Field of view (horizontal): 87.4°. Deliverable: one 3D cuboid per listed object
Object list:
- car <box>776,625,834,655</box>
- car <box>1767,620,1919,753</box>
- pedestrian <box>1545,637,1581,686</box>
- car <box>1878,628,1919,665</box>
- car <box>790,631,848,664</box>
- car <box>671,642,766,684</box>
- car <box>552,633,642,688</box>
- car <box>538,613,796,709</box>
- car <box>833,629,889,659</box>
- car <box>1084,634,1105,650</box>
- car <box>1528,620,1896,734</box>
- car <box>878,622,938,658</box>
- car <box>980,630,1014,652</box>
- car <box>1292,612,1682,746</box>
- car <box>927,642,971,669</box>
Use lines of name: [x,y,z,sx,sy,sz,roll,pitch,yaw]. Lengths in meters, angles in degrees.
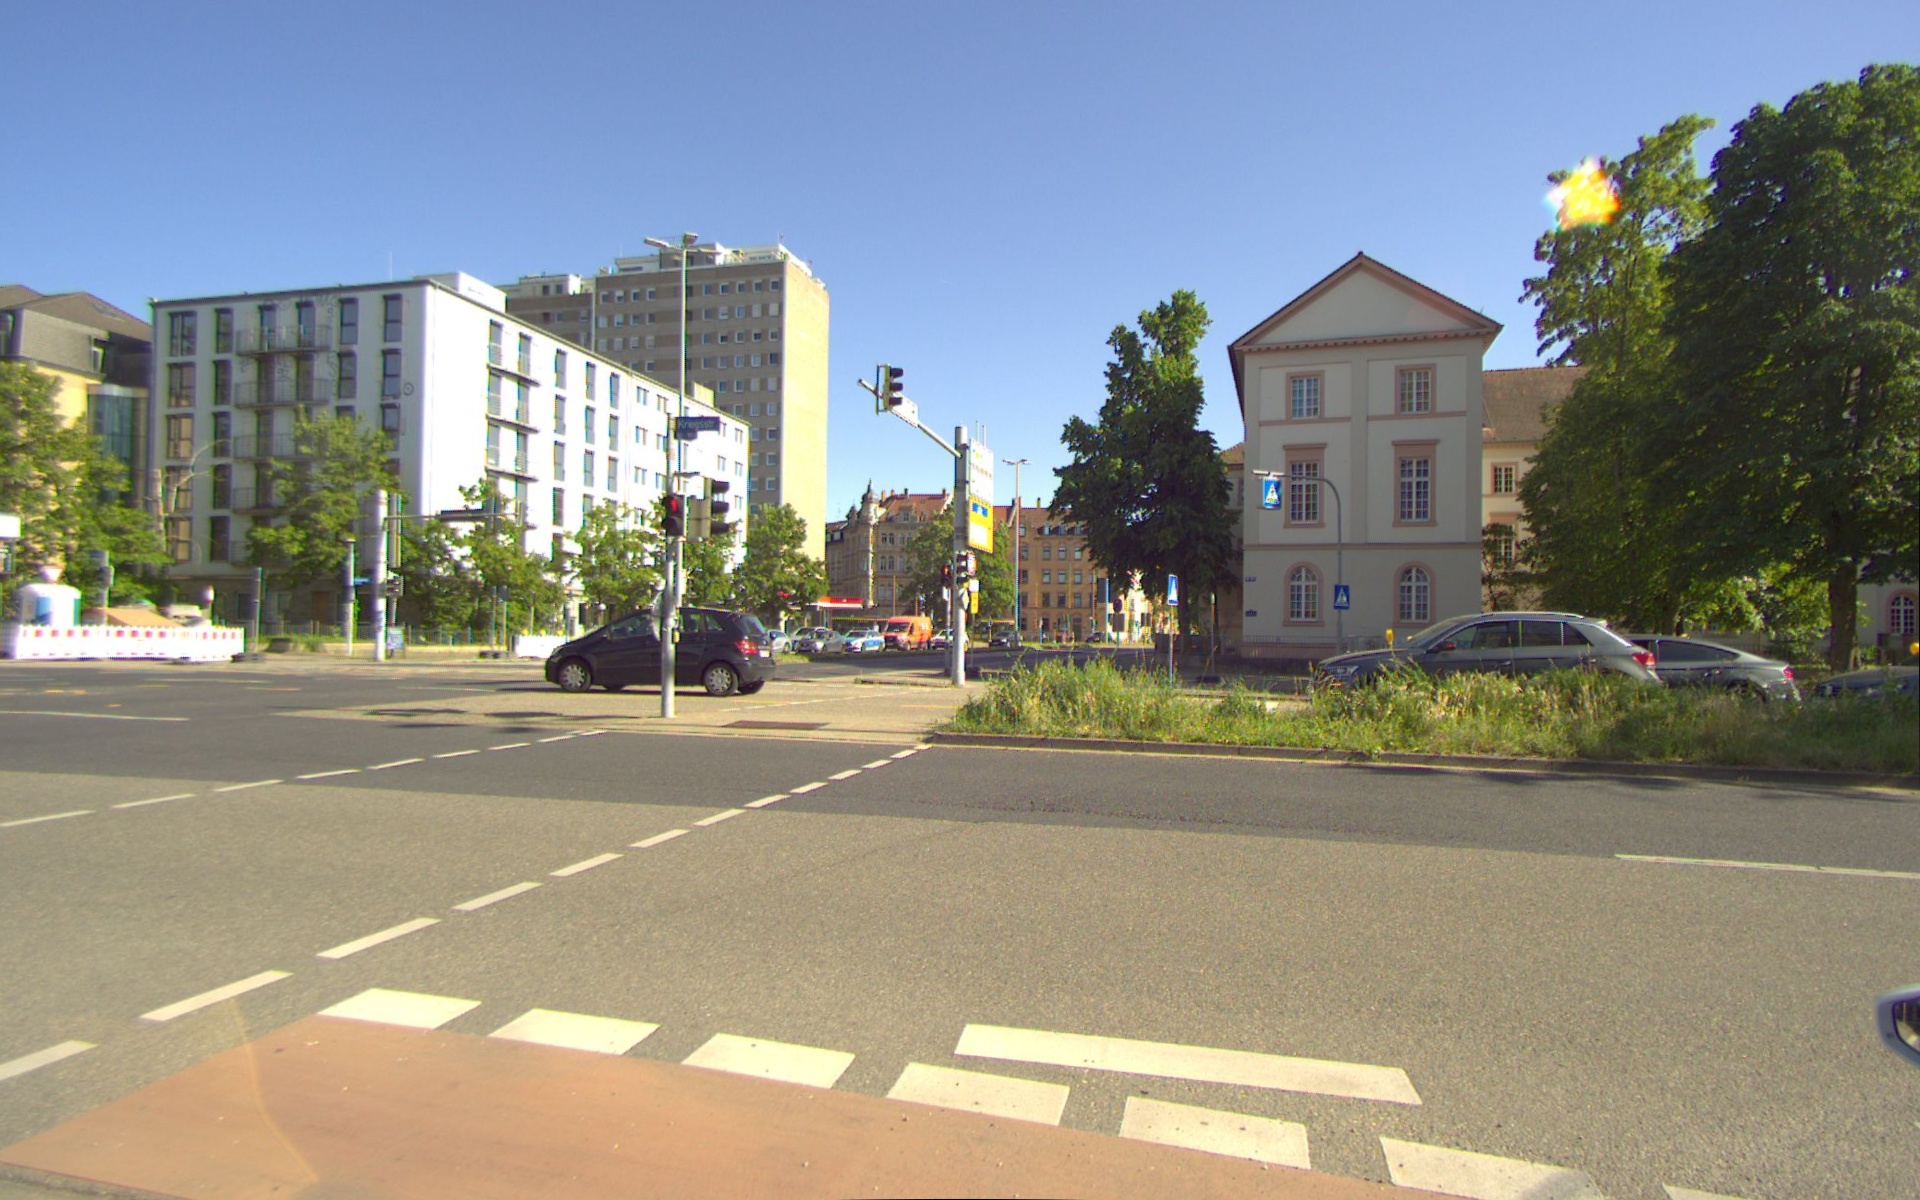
car: [-9.473,2.442,61.718,1.881,1.639,4.001,3,0,17]
car: [12.950,1.041,12.425,4.274,1.539,1.803,0,0,11]
pedestrian: [19.716,2.012,32.840,0.766,1.556,0.743,1,-1,7]
car: [43.119,2.136,43.563,4.590,1.512,1.648,4,0,12]
car: [-7.798,2.613,55.851,1.531,1.639,4.001,3,0,17]
car: [-11.101,2.860,46.492,1.881,1.639,4.711,3,0,21]
car: [-15.519,2.543,43.159,1.960,2.040,4.002,3,0,7]
car: [-5.362,1.077,18.624,4.191,1.606,1.864,0,-1,11]
car: [-6.049,2.669,61.802,1.880,1.639,4.714,3,0,14]
car: [15.300,4.806,114.066,1.816,1.728,4.002,0,-1,16]
car: [11.594,1.142,15.809,4.258,1.539,1.803,1,0,11]
car: [-3.528,2.745,69.562,1.881,2.260,5.900,3,0,20]
car: [3.410,3.739,91.702,1.960,1.840,4.001,3,0,18]
car: [6.797,0.972,13.444,4.258,1.539,1.803,1,0,11]
car: [-0.829,4.357,79.565,1.881,1.838,4.711,3,0,20]
